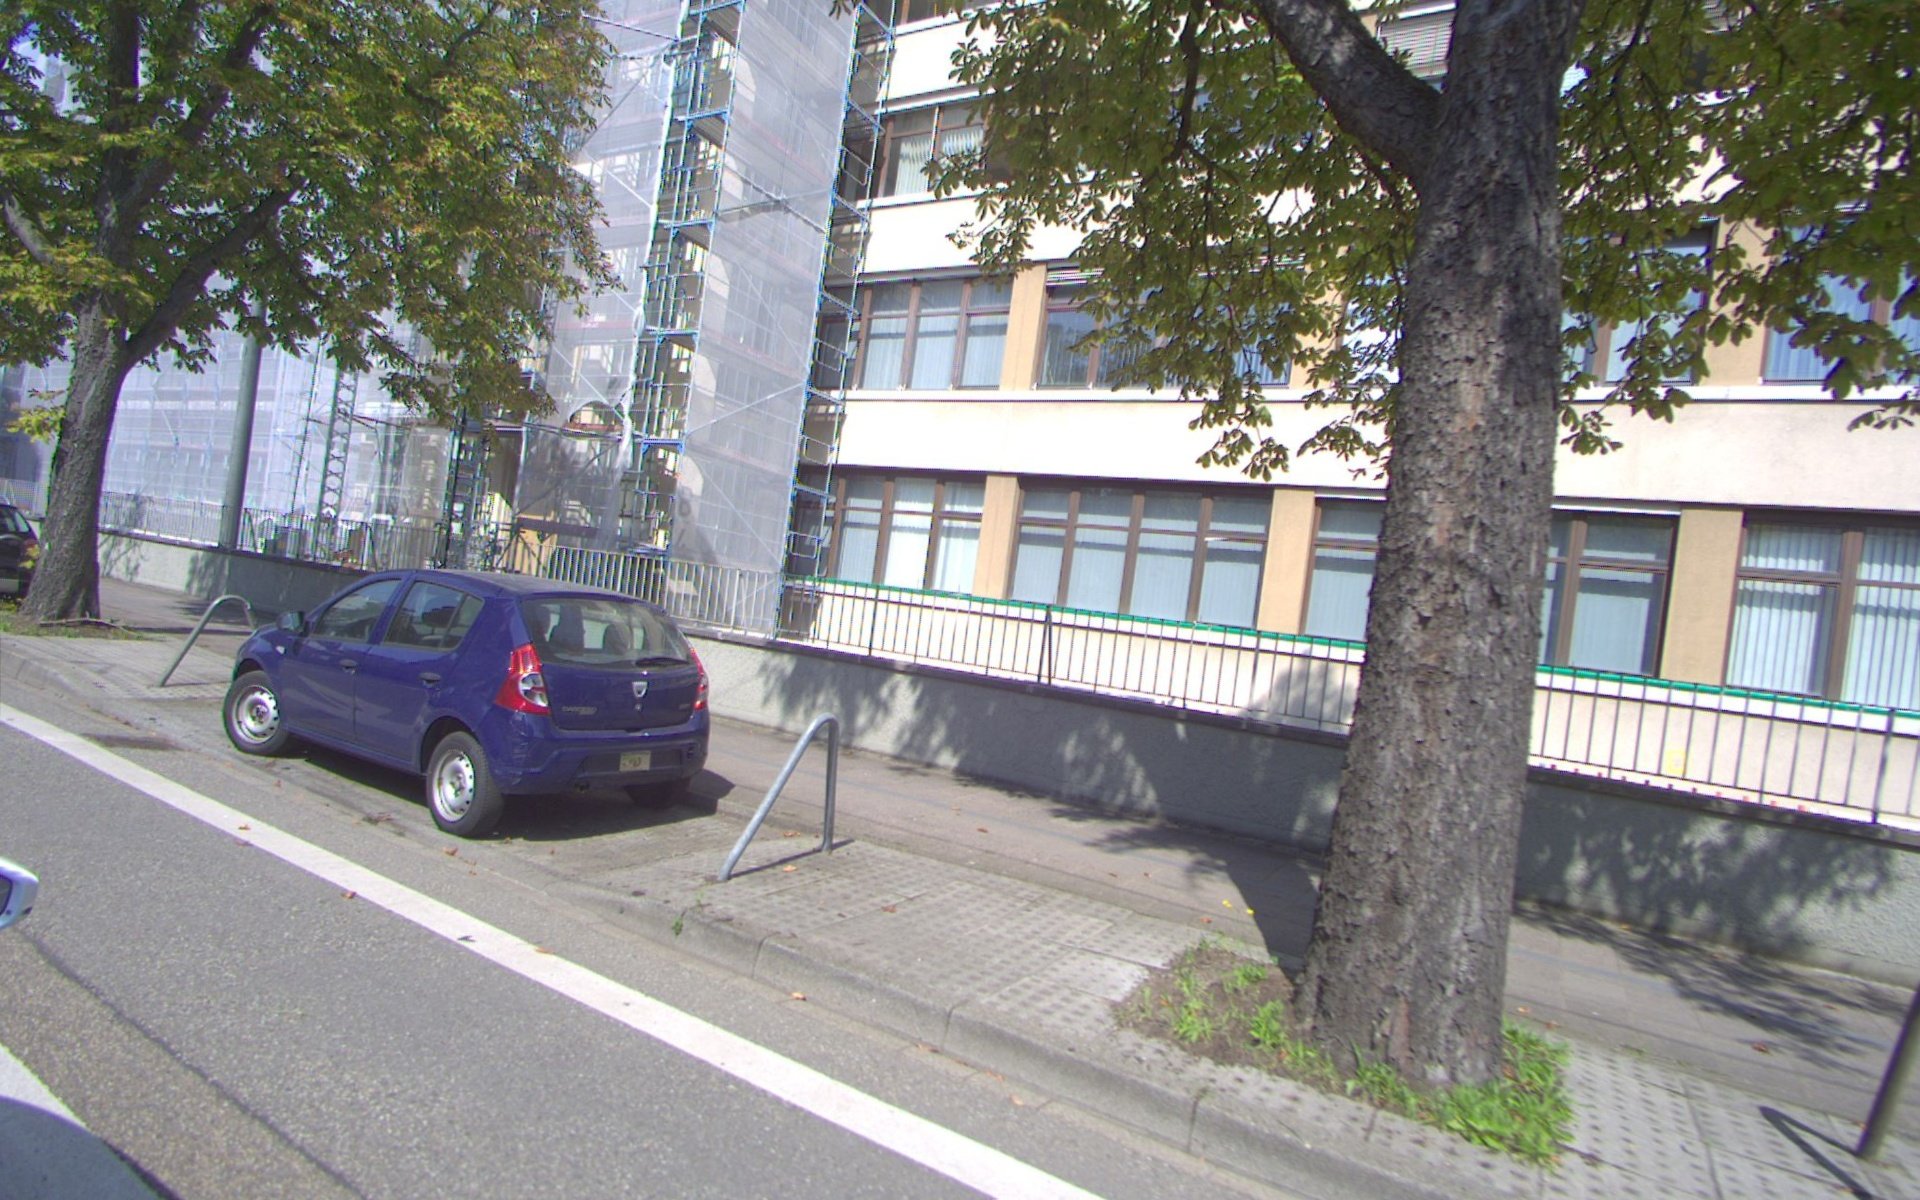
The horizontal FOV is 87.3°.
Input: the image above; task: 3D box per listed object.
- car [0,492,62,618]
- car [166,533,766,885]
[{"bbox_3d":[-14.399,-0.851,13.924,4.118,1.603,1.637,7,-2,30],"label":"car"},{"bbox_3d":[-3.581,0.571,7.076,4.147,1.574,1.745,7,-1,32],"label":"car"}]
